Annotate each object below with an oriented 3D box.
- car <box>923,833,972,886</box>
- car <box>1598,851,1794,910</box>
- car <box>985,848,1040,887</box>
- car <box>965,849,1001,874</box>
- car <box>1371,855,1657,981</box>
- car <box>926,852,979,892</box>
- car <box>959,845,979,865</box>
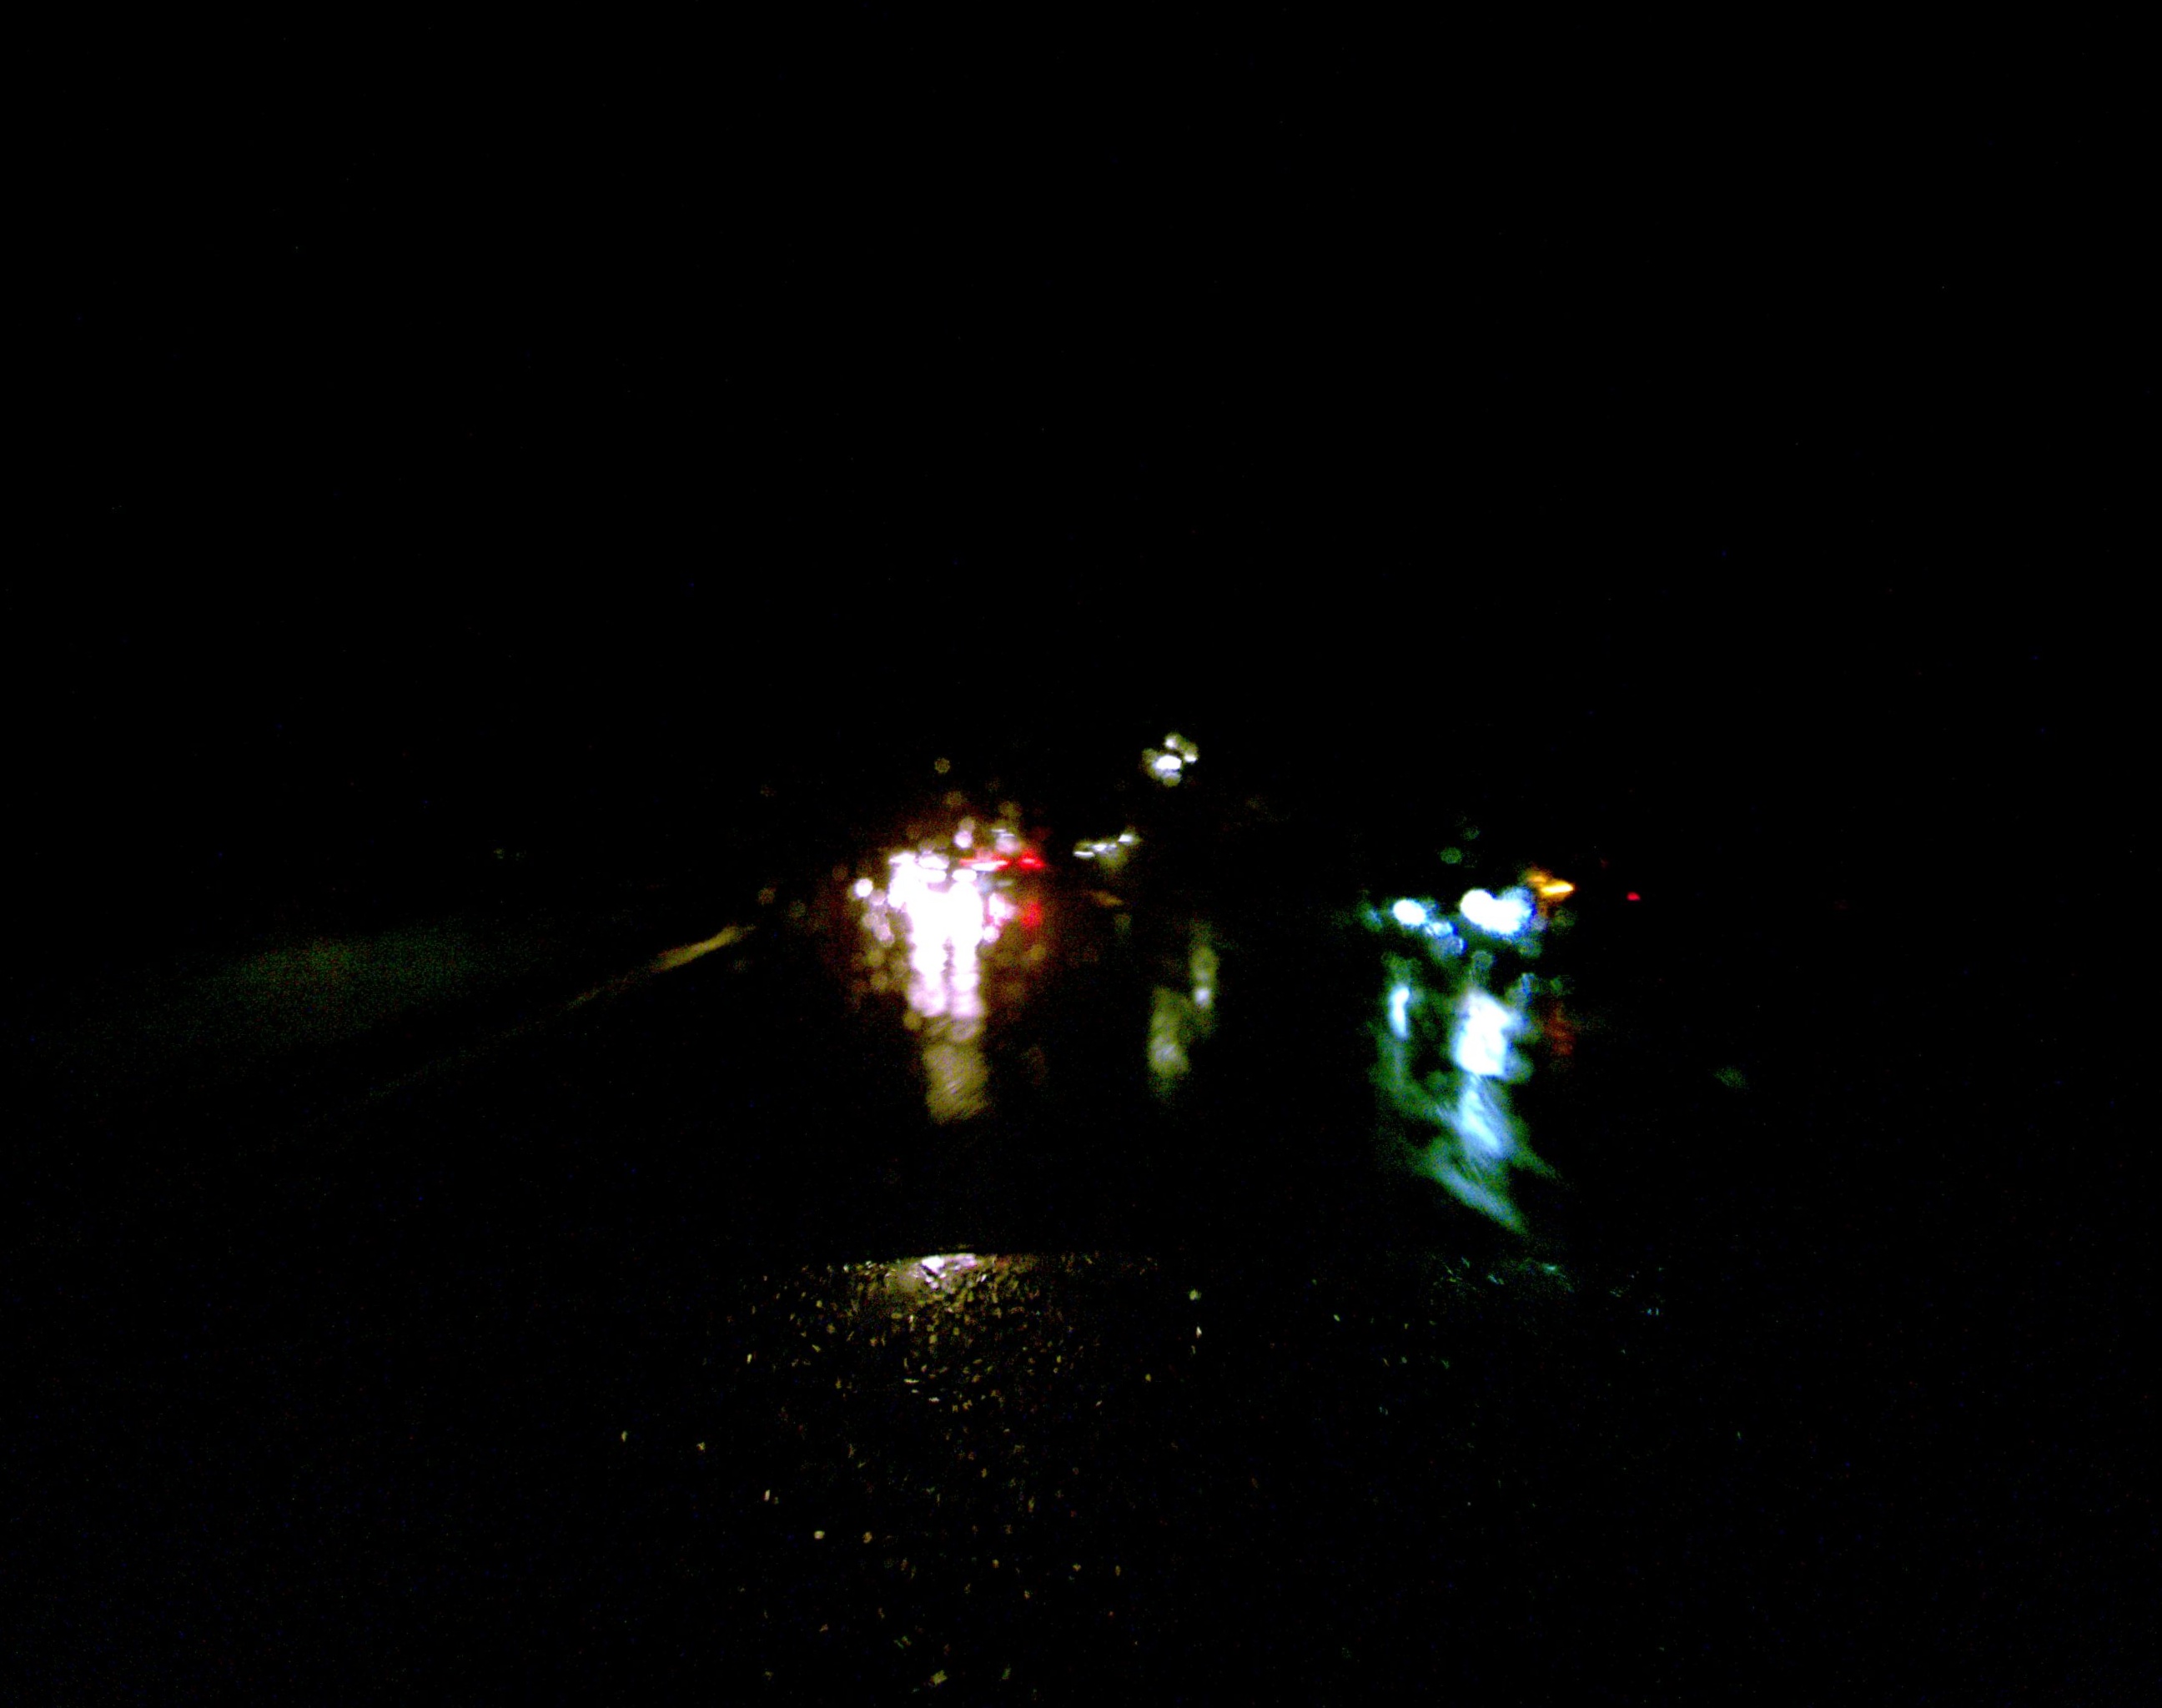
[{"bbox_3d":[-6.642,0.192,37.568,2.175,2.428,4.854,-1,2,-11],"label":"car"},{"bbox_3d":[18.692,0.729,23.420,1.940,1.577,4.476,1,1,-11],"label":"car"},{"bbox_3d":[-3.234,0.572,35.163,2.065,1.668,4.135,0,0,-12],"label":"car"},{"bbox_3d":[-6.358,0.442,49.072,1.917,1.502,4.235,0,1,-13],"label":"car"},{"bbox_3d":[6.969,0.902,12.192,4.345,1.677,1.891,-1,-1,-27],"label":"car"},{"bbox_3d":[-5.427,0.693,31.678,1.981,1.508,4.201,-1,0,-12],"label":"car"},{"bbox_3d":[-10.855,0.064,73.719,1.777,1.936,4.250,0,0,-10],"label":"car"}]
